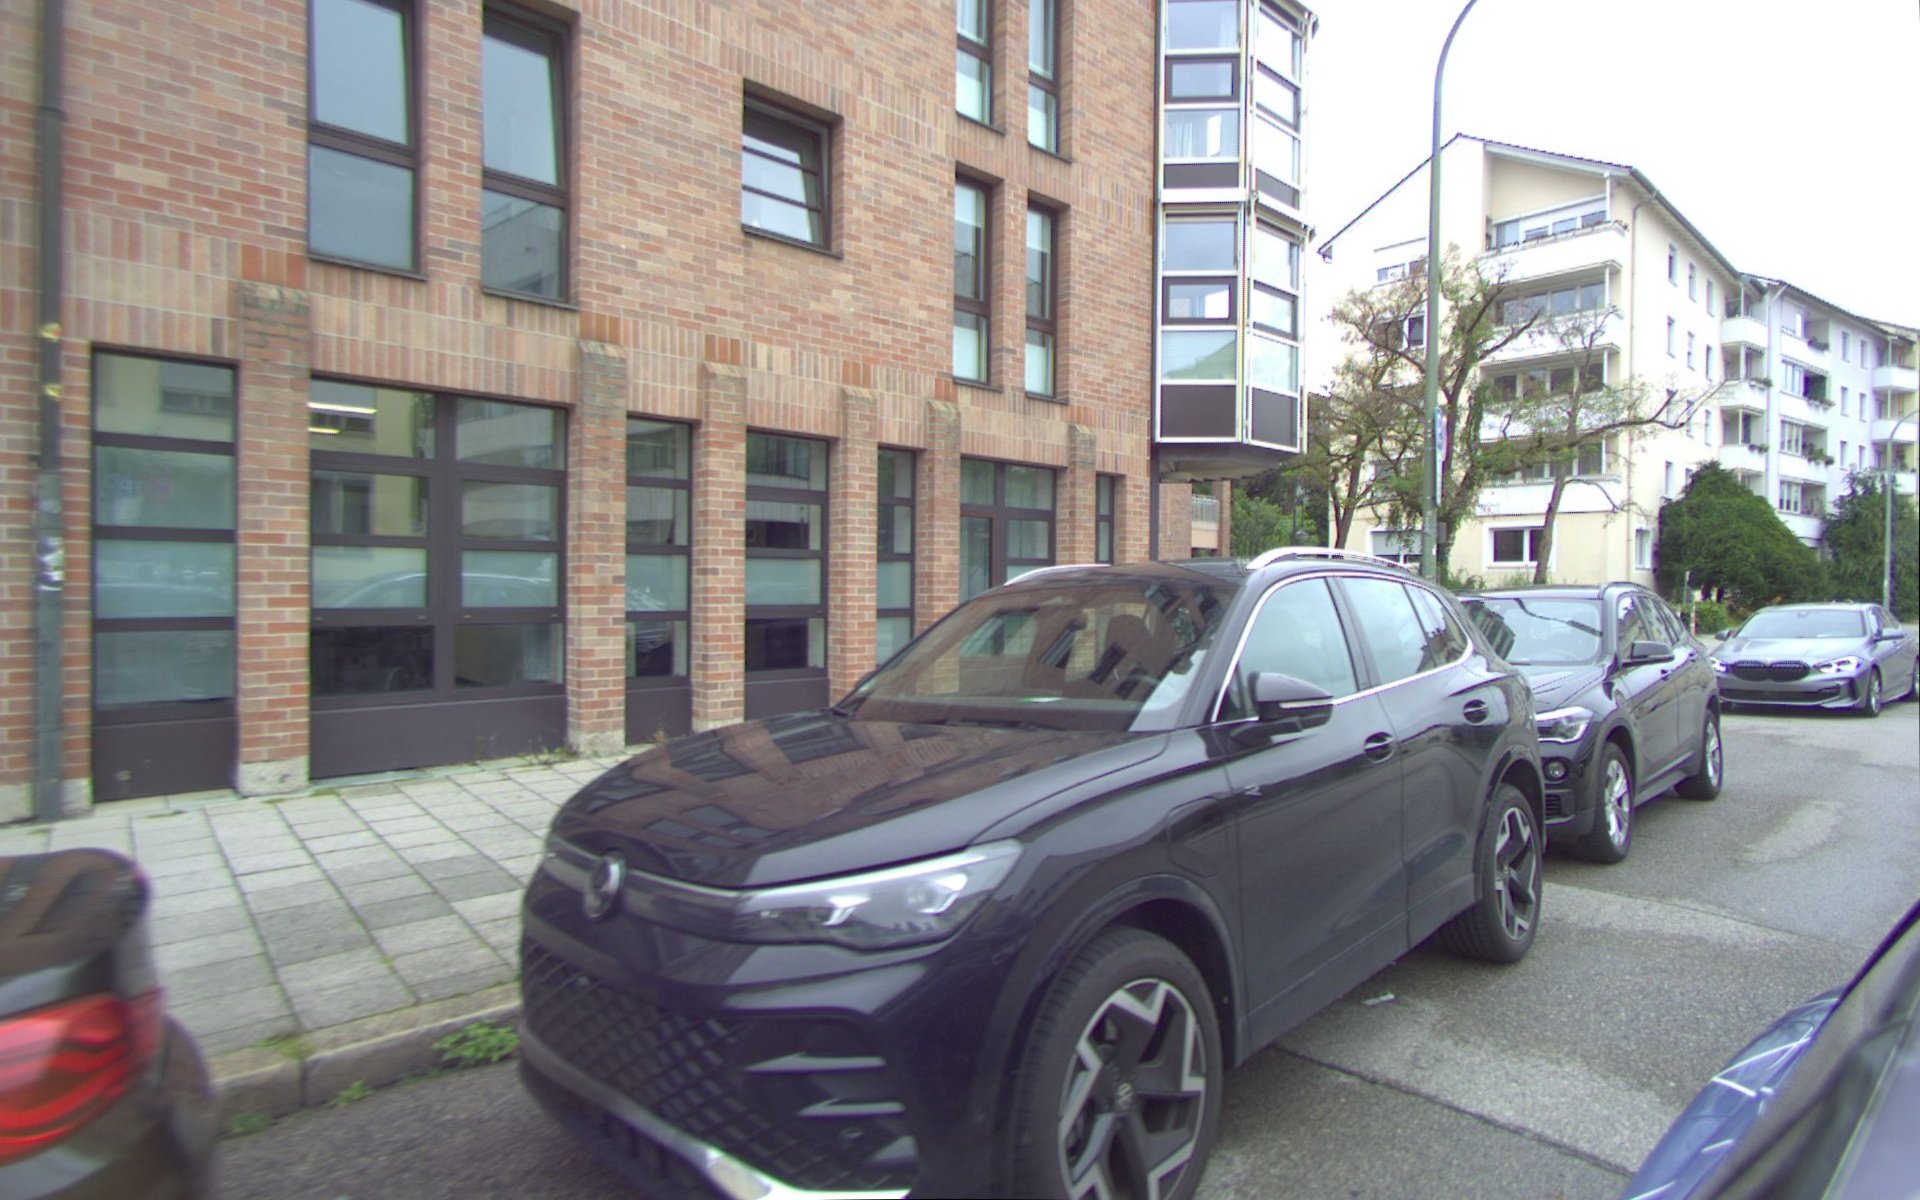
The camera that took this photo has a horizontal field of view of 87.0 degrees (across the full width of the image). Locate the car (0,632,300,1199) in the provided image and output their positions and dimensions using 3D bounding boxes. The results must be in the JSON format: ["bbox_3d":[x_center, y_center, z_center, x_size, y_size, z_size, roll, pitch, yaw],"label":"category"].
[{"bbox_3d":[-3.227,0.808,0.441,4.702,1.383,1.758,-1,-3,-44],"label":"car"}]

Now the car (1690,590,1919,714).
[{"bbox_3d":[11.932,0.630,13.963,4.254,1.455,1.881,0,-2,-38],"label":"car"}]

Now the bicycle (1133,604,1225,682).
[{"bbox_3d":[3.249,0.613,14.961,1.492,1.069,0.535,0,1,-41],"label":"bicycle"}]

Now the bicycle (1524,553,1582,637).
[{"bbox_3d":[14.865,-0.130,25.360,1.958,2.039,0.653,0,1,-41],"label":"bicycle"}]

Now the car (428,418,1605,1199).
[{"bbox_3d":[0.768,0.529,3.804,1.878,1.666,4.569,1,1,45],"label":"car"}]

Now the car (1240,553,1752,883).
[{"bbox_3d":[3.997,0.544,7.152,4.432,1.611,1.879,0,1,-43],"label":"car"}]
